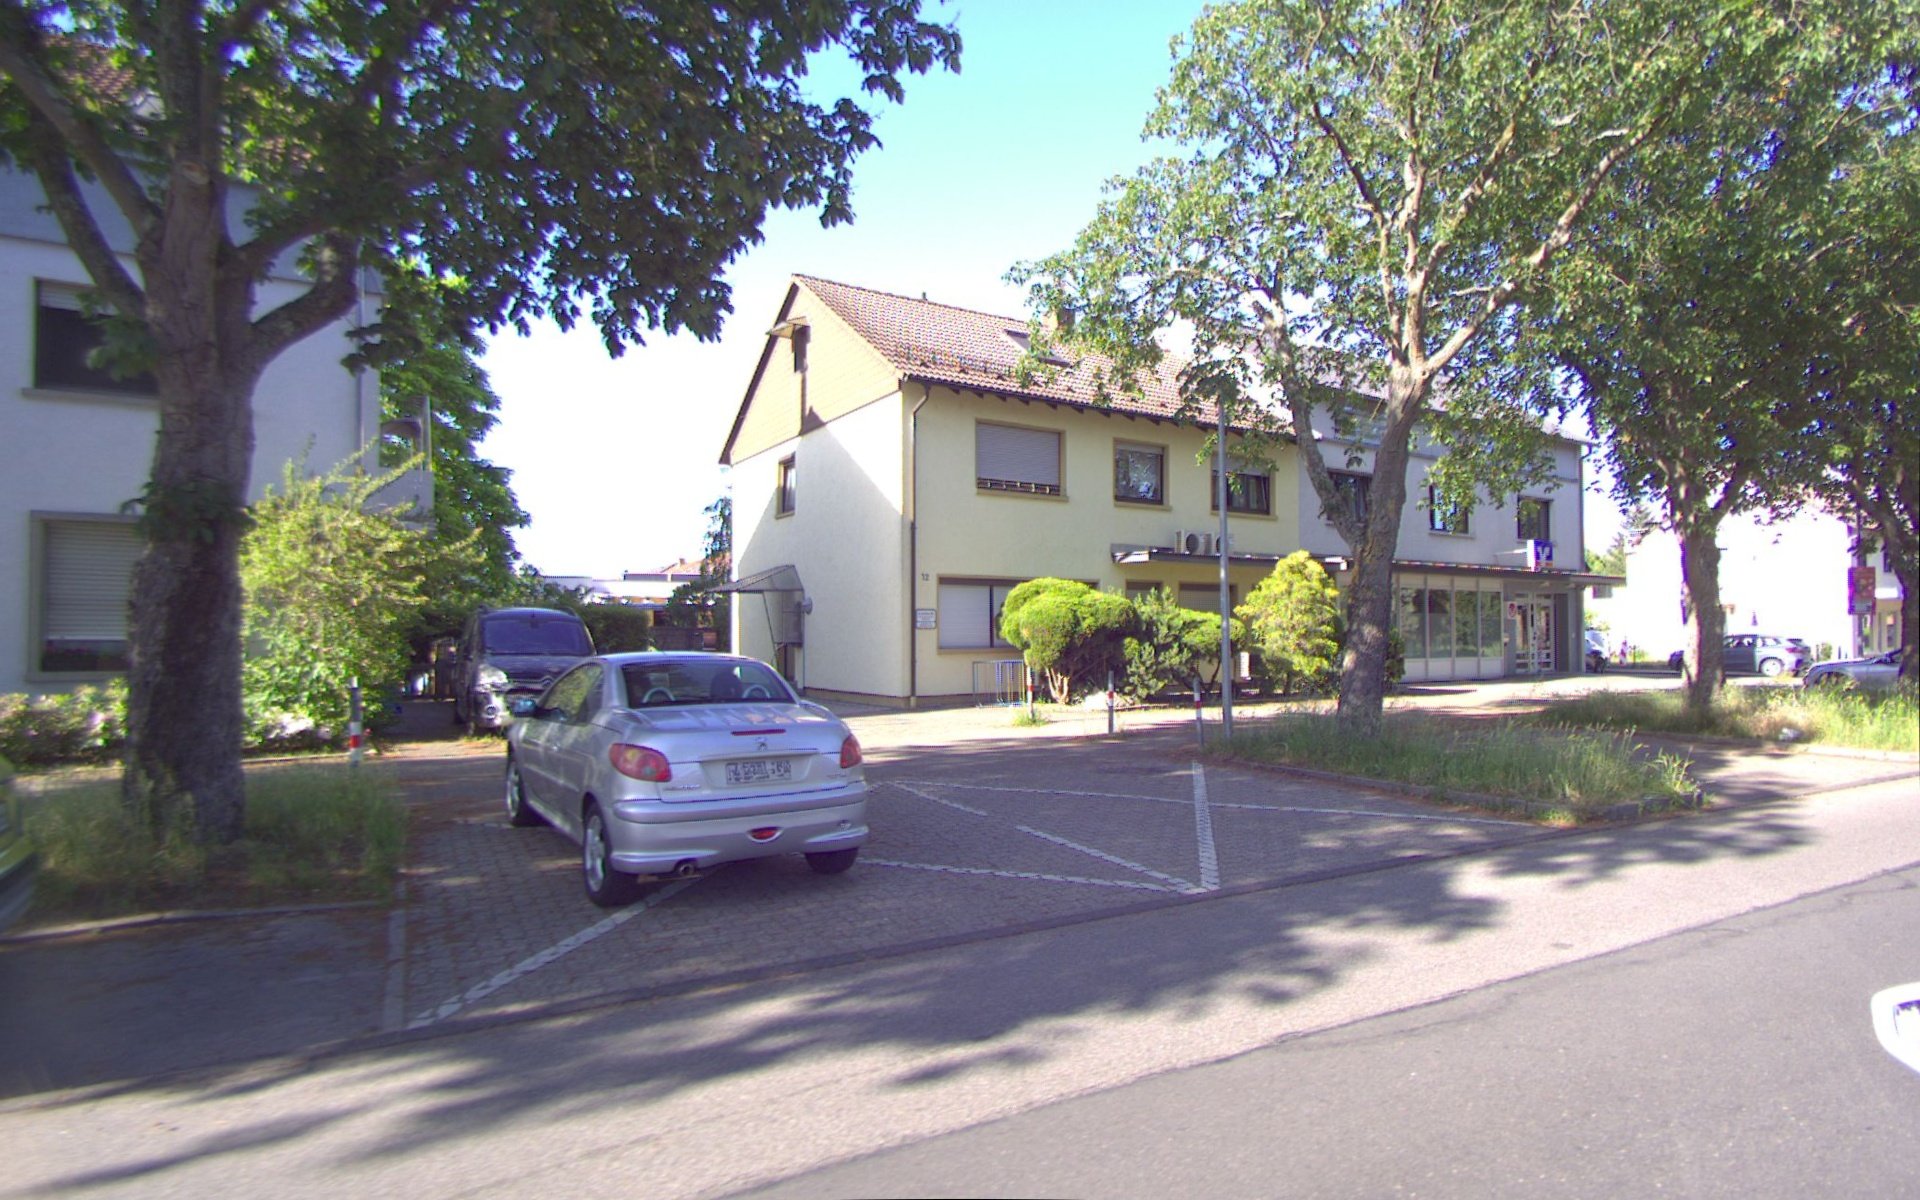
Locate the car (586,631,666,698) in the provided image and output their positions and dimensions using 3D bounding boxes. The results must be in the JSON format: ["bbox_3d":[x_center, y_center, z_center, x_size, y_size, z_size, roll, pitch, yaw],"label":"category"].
[{"bbox_3d":[-8.286,1.549,24.899,1.734,1.483,3.984,0,-2,-19],"label":"car"}]

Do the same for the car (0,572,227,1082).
[{"bbox_3d":[-5.165,0.679,3.164,4.330,1.630,1.931,2,-1,-29],"label":"car"}]

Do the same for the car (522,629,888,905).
[{"bbox_3d":[-2.048,0.917,7.182,1.592,1.319,3.747,-1,0,-30],"label":"car"}]

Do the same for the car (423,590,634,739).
[{"bbox_3d":[-6.206,0.780,14.163,1.979,1.737,4.208,-1,0,-34],"label":"car"}]

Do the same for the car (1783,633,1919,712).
[{"bbox_3d":[20.693,1.546,21.417,1.818,1.531,4.535,-1,0,-29],"label":"car"}]

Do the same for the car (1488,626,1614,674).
[{"bbox_3d":[26.530,2.208,45.248,1.978,1.953,4.529,-1,0,-33],"label":"car"}]

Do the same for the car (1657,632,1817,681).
[{"bbox_3d":[30.054,2.138,38.971,1.978,1.639,4.529,-1,0,-33],"label":"car"}]

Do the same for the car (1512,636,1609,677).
[{"bbox_3d":[21.561,2.001,36.061,3.470,1.253,1.533,-1,0,-31],"label":"car"}]
